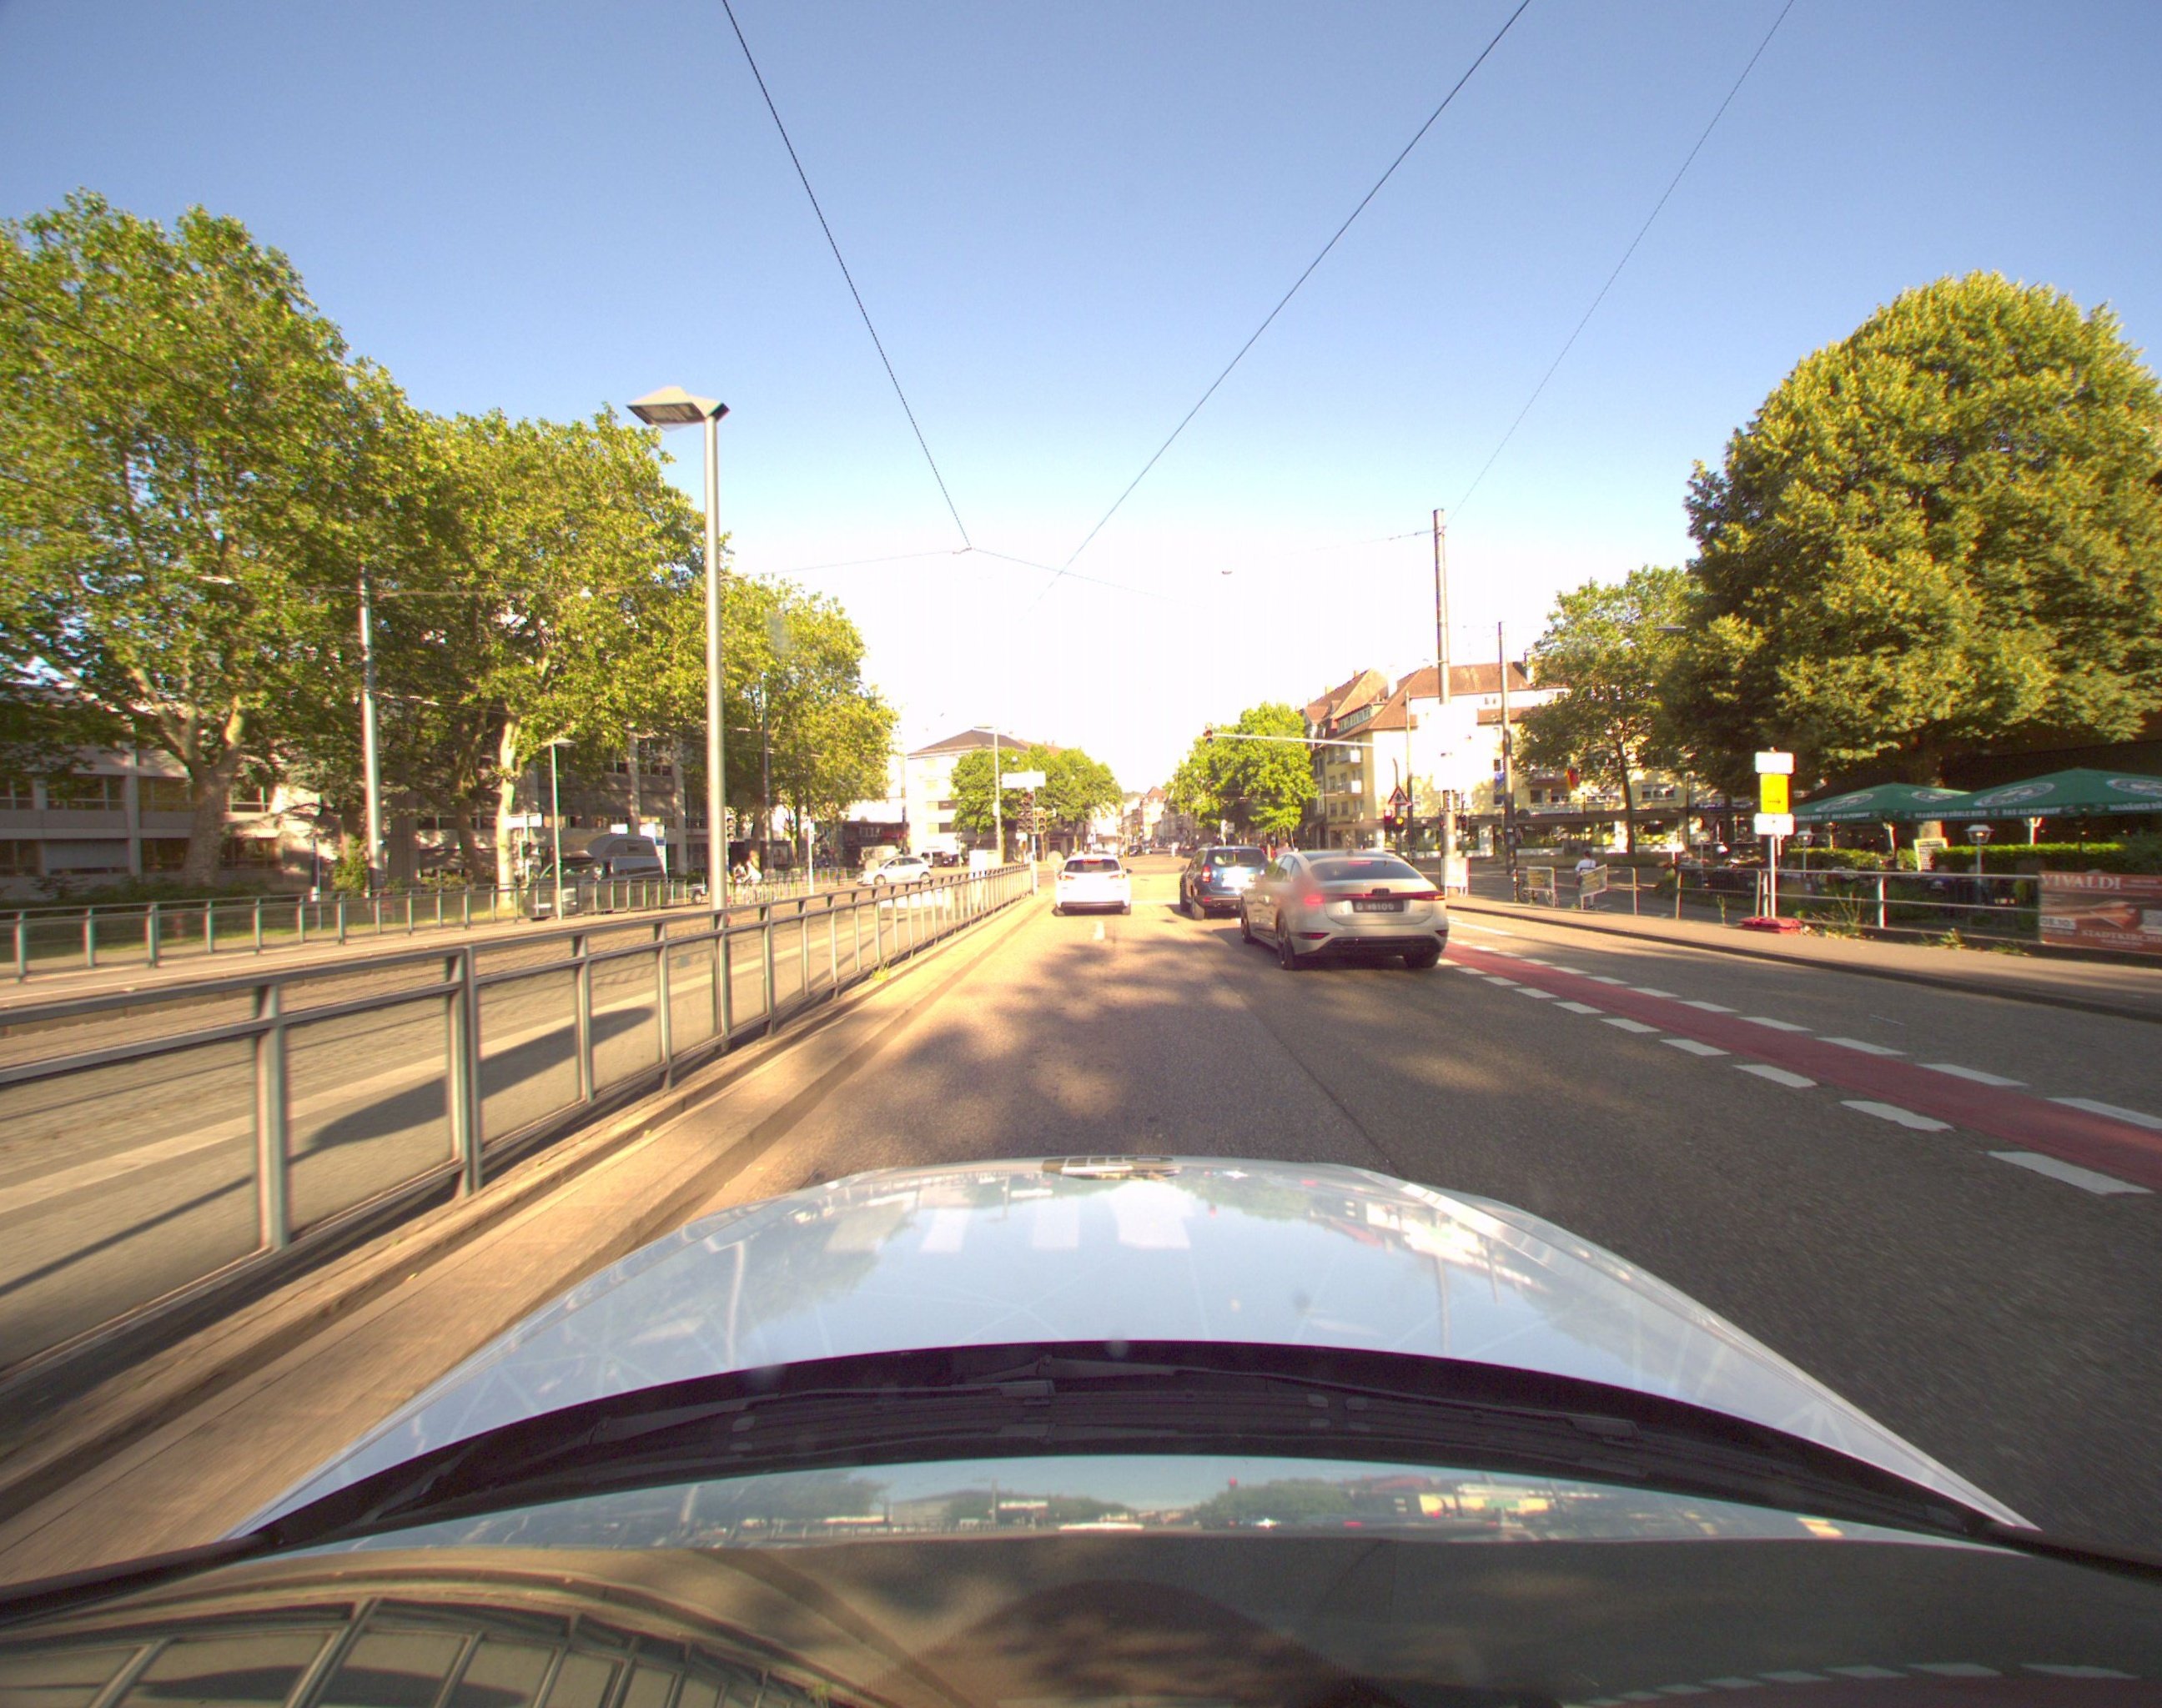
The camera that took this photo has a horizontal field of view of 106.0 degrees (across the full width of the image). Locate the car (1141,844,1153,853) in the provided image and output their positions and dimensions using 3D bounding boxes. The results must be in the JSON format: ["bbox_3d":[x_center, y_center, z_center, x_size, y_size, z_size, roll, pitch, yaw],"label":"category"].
[{"bbox_3d":[11.664,-0.988,143.354,1.788,1.510,4.000,-2,0,1],"label":"car"}]

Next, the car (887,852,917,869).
[{"bbox_3d":[-22.592,0.829,102.782,1.779,1.955,4.021,-2,0,20],"label":"car"}]

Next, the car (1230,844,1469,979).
[{"bbox_3d":[3.461,0.642,11.601,1.922,1.472,4.857,-1,0,2],"label":"car"}]

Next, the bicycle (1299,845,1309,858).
[{"bbox_3d":[20.923,-0.230,76.269,0.606,1.107,1.803,-2,0,6],"label":"bicycle"}]

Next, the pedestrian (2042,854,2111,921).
[{"bbox_3d":[20.569,0.675,16.829,0.645,1.338,0.632,1,0,2],"label":"pedestrian"}]

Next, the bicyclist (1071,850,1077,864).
[{"bbox_3d":[-0.886,0.358,103.143,0.463,1.745,0.721,-2,0,25],"label":"bicyclist"}]

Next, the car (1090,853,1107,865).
[{"bbox_3d":[2.401,0.662,113.434,1.784,1.510,4.010,-2,-1,9],"label":"car"}]

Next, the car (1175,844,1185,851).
[{"bbox_3d":[20.765,-1.313,171.324,1.787,1.510,4.001,-2,0,1],"label":"car"}]

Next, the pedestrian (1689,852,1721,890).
[{"bbox_3d":[22.017,0.594,28.740,0.645,1.338,0.632,1,0,2],"label":"pedestrian"}]

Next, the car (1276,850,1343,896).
[{"bbox_3d":[7.638,0.594,27.529,1.789,1.439,4.056,0,0,10],"label":"car"}]

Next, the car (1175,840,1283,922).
[{"bbox_3d":[3.279,0.550,18.782,1.794,1.638,4.046,-1,0,1],"label":"car"}]

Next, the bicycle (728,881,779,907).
[{"bbox_3d":[-11.902,1.443,29.640,1.626,0.816,0.521,-2,0,-43],"label":"bicycle"}]

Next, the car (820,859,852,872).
[{"bbox_3d":[-32.316,1.473,107.470,1.778,1.510,4.023,-2,0,25],"label":"car"}]

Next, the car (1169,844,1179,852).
[{"bbox_3d":[20.286,-1.328,177.500,1.787,1.510,4.001,-2,0,1],"label":"car"}]

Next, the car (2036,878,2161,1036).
[{"bbox_3d":[14.198,1.273,9.154,1.788,1.898,4.358,-1,-1,0],"label":"car"}]

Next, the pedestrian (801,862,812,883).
[{"bbox_3d":[-22.897,1.528,67.908,0.645,1.661,0.651,-2,0,4],"label":"pedestrian"}]

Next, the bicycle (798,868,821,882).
[{"bbox_3d":[-22.802,1.799,68.415,1.786,1.107,0.501,-2,0,4],"label":"bicycle"}]

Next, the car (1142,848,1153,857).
[{"bbox_3d":[12.315,-0.293,151.338,1.788,1.510,4.000,-2,0,1],"label":"car"}]

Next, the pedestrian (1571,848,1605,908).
[{"bbox_3d":[13.575,0.637,21.827,0.642,1.563,0.635,1,0,20],"label":"pedestrian"}]

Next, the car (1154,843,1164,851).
[{"bbox_3d":[21.326,-1.899,221.767,2.318,2.013,4.978,-2,0,1],"label":"car"}]

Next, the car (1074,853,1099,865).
[{"bbox_3d":[0.806,0.698,107.476,1.707,1.510,3.899,-2,-1,26],"label":"car"}]

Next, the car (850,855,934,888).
[{"bbox_3d":[-10.427,0.921,45.062,4.183,1.692,1.799,-1,0,-42],"label":"car"}]

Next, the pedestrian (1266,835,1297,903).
[{"bbox_3d":[5.647,0.403,22.967,0.654,1.871,0.678,-2,0,1],"label":"pedestrian"}]

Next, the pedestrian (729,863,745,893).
[{"bbox_3d":[-18.755,1.305,44.443,0.533,1.552,0.677,-2,0,1],"label":"pedestrian"}]

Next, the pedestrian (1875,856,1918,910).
[{"bbox_3d":[20.717,0.720,20.700,0.642,1.338,0.636,1,0,32],"label":"pedestrian"}]

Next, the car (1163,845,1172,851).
[{"bbox_3d":[20.832,-1.398,196.739,1.787,1.522,4.001,-2,0,1],"label":"car"}]

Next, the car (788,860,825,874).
[{"bbox_3d":[-32.692,1.511,96.916,3.952,1.510,1.810,-2,0,22],"label":"car"}]

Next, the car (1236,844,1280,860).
[{"bbox_3d":[17.875,-0.224,82.324,3.983,1.510,1.796,-2,0,-7],"label":"car"}]

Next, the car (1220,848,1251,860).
[{"bbox_3d":[20.305,0.003,106.956,4.021,1.510,1.779,-2,0,-40],"label":"car"}]

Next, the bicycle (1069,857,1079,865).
[{"bbox_3d":[-0.872,0.871,103.139,0.463,0.956,1.777,-2,0,25],"label":"bicycle"}]

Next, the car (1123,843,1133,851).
[{"bbox_3d":[9.670,-1.353,166.330,1.788,1.510,4.000,-2,0,1],"label":"car"}]

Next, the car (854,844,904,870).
[{"bbox_3d":[-25.695,0.336,103.853,2.473,3.165,6.573,-2,0,25],"label":"car"}]

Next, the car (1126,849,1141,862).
[{"bbox_3d":[8.348,0.222,128.801,1.782,1.826,4.014,-2,0,12],"label":"car"}]

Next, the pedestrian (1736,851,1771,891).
[{"bbox_3d":[22.906,0.571,27.752,0.645,1.338,0.632,1,0,2],"label":"pedestrian"}]

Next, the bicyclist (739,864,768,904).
[{"bbox_3d":[-11.911,1.073,29.640,0.807,1.414,0.521,-2,0,-43],"label":"bicyclist"}]

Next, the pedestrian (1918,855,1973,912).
[{"bbox_3d":[20.991,0.705,19.786,0.645,1.338,0.632,1,0,2],"label":"pedestrian"}]

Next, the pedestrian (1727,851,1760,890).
[{"bbox_3d":[23.316,0.576,28.658,0.645,1.338,0.632,1,0,2],"label":"pedestrian"}]

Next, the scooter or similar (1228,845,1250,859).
[{"bbox_3d":[14.783,-0.168,76.274,1.926,1.280,0.557,-2,0,43],"label":"scooter or similar"}]

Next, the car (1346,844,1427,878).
[{"bbox_3d":[15.352,0.316,40.874,4.015,1.510,1.782,-2,1,-33],"label":"car"}]

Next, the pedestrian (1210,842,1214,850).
[{"bbox_3d":[25.130,-1.511,156.261,0.643,1.651,0.652,-1,-1,12],"label":"pedestrian"}]

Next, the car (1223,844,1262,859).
[{"bbox_3d":[18.391,-0.263,92.780,3.979,1.510,1.797,-2,0,-4],"label":"car"}]

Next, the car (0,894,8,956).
[{"bbox_3d":[-42.859,2.736,28.686,2.131,2.335,5.757,-2,0,25],"label":"car"}]

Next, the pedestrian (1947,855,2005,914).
[{"bbox_3d":[20.820,0.697,18.959,0.645,1.338,0.632,1,0,2],"label":"pedestrian"}]

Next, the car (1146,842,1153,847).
[{"bbox_3d":[20.675,-2.868,247.099,1.787,1.510,4.001,-2,0,1],"label":"car"}]

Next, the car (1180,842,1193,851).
[{"bbox_3d":[21.249,-1.448,164.780,2.097,1.776,4.343,-2,0,1],"label":"car"}]

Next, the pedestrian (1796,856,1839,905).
[{"bbox_3d":[20.928,0.744,23.140,0.645,1.338,0.632,1,0,2],"label":"pedestrian"}]

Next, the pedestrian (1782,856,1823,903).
[{"bbox_3d":[21.313,0.749,24.066,0.645,1.338,0.632,1,0,2],"label":"pedestrian"}]

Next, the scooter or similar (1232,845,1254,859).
[{"bbox_3d":[15.264,-0.168,76.813,1.926,1.280,0.557,-2,0,43],"label":"scooter or similar"}]

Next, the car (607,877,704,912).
[{"bbox_3d":[-15.816,1.483,30.451,2.060,1.162,2.911,-1,-1,0],"label":"car"}]

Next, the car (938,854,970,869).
[{"bbox_3d":[-15.413,0.900,98.988,1.904,1.649,4.203,-2,0,22],"label":"car"}]

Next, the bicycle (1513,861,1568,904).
[{"bbox_3d":[12.160,0.729,21.604,0.496,1.075,1.801,-1,-1,2],"label":"bicycle"}]

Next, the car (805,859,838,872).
[{"bbox_3d":[-34.668,1.527,108.892,1.778,1.510,4.023,-2,0,25],"label":"car"}]

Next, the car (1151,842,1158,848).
[{"bbox_3d":[20.537,-2.537,227.258,1.787,1.510,4.001,-2,0,1],"label":"car"}]

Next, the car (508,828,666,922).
[{"bbox_3d":[-15.816,0.650,26.473,2.060,2.743,5.030,-1,-1,0],"label":"car"}]

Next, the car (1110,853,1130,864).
[{"bbox_3d":[5.838,0.650,121.418,1.779,1.510,4.020,-2,-1,21],"label":"car"}]

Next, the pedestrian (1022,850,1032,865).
[{"bbox_3d":[-6.654,0.413,100.473,0.828,1.771,0.787,-2,0,27],"label":"pedestrian"}]

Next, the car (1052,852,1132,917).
[{"bbox_3d":[0.300,0.695,20.645,1.802,1.452,4.001,-1,0,1],"label":"car"}]
